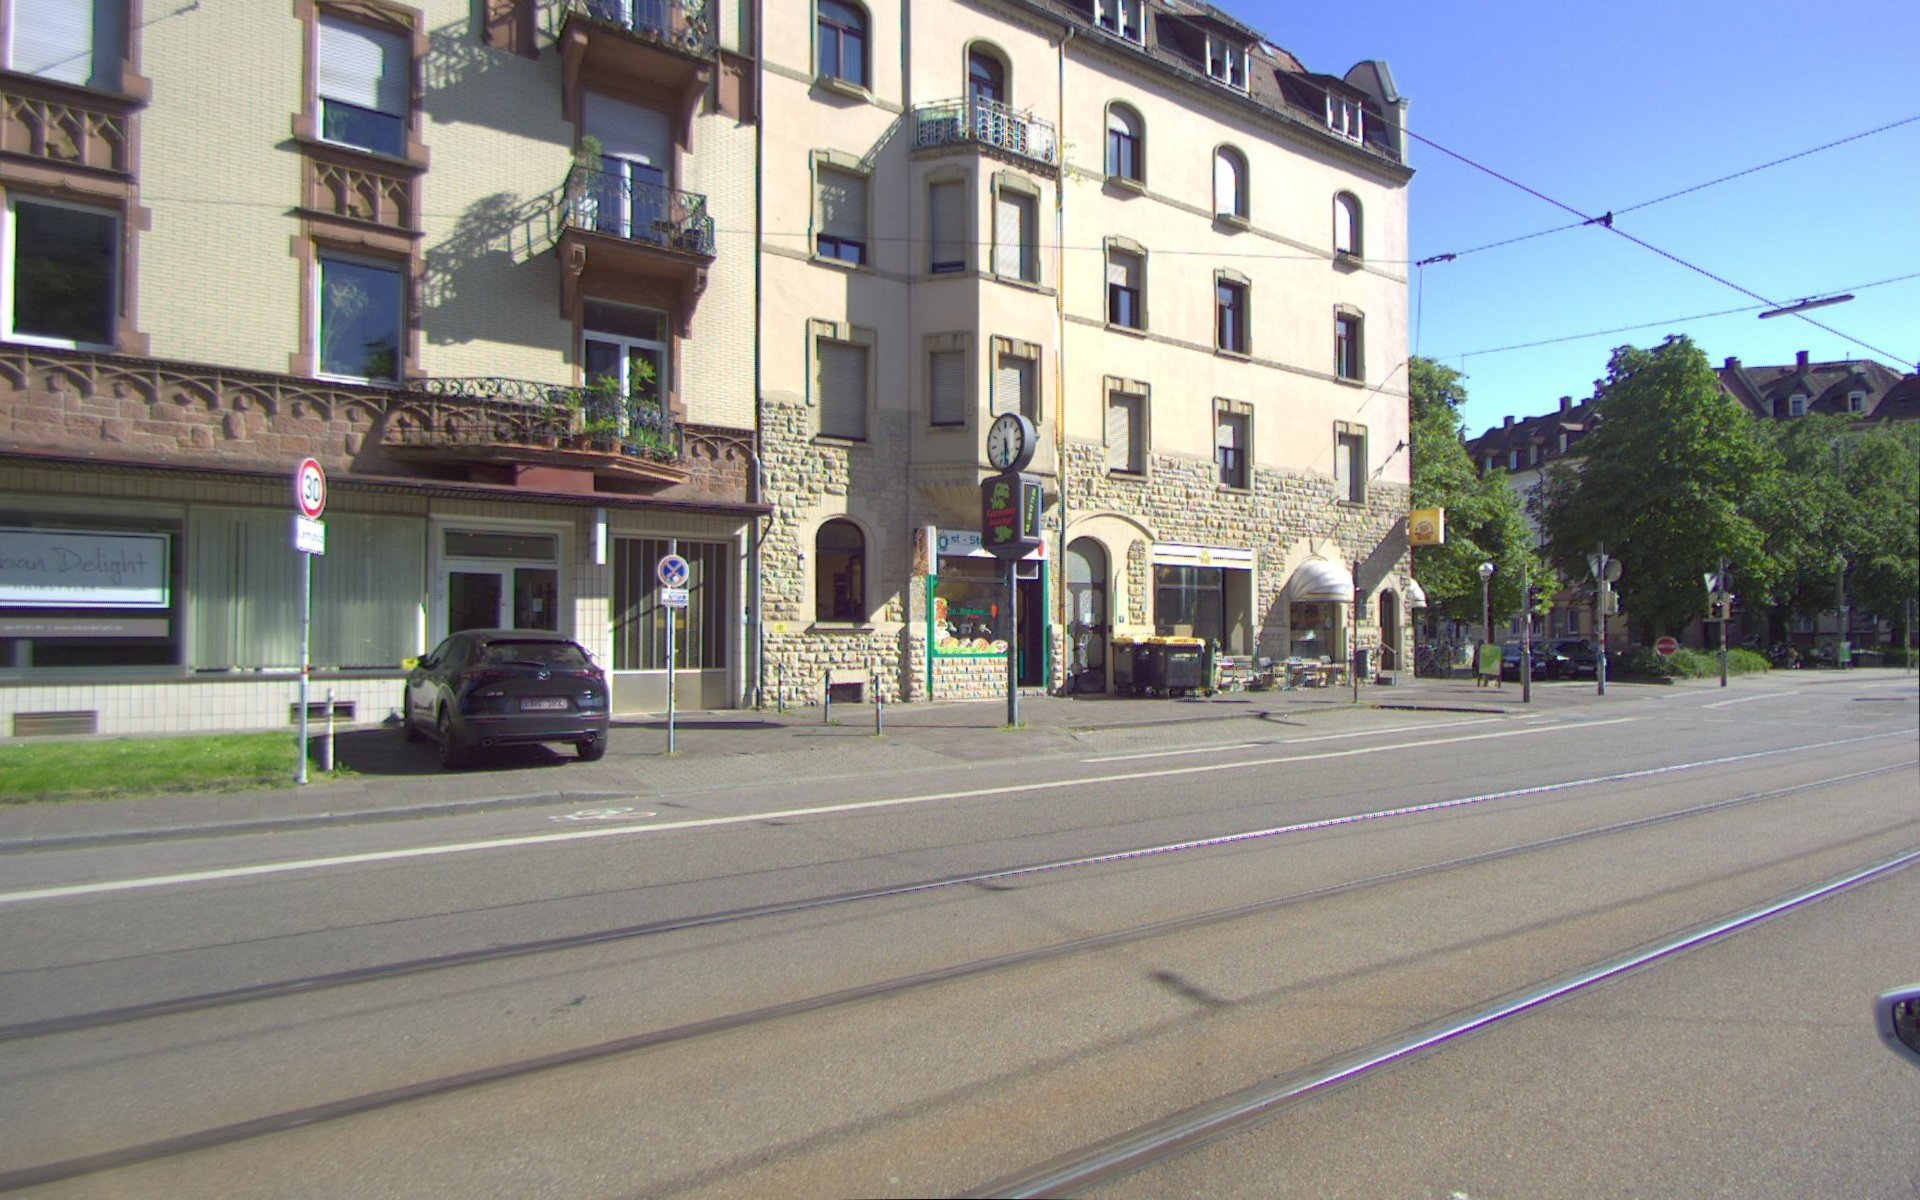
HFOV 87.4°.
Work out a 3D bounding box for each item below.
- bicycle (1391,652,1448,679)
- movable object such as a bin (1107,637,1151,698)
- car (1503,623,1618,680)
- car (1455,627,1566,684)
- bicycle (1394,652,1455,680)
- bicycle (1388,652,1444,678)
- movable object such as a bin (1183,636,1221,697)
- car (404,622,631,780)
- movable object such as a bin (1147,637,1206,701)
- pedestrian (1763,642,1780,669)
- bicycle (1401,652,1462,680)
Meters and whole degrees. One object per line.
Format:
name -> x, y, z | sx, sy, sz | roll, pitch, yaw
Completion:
bicycle -> 18.298, 2.617, 40.032 | 1.997, 0.993, 0.611 | 1, -1, 6
movable object such as a bin -> 3.848, 1.529, 22.970 | 0.647, 1.343, 0.854 | 2, -1, -20
car -> 23.136, 1.939, 38.869 | 1.961, 2.040, 3.999 | 1, -2, -2
car -> 20.904, 2.055, 38.332 | 1.961, 2.040, 3.999 | 1, -2, -2
bicycle -> 17.747, 2.529, 38.390 | 1.997, 0.993, 0.611 | 1, -1, 6
bicycle -> 18.540, 2.655, 40.861 | 1.997, 0.993, 0.611 | 1, -1, 6
movable object such as a bin -> 5.701, 1.546, 23.665 | 0.840, 1.399, 1.028 | 1, -1, 14
car -> -5.759, 1.144, 12.800 | 1.756, 1.523, 3.957 | 2, 0, -37
movable object such as a bin -> 4.891, 1.548, 22.740 | 1.012, 1.399, 0.854 | 2, -1, -20
pedestrian -> 36.646, 2.501, 45.346 | 0.571, 1.217, 0.605 | -3, -3, 40
bicycle -> 17.689, 2.464, 37.703 | 1.997, 0.993, 0.611 | 1, -1, 6
